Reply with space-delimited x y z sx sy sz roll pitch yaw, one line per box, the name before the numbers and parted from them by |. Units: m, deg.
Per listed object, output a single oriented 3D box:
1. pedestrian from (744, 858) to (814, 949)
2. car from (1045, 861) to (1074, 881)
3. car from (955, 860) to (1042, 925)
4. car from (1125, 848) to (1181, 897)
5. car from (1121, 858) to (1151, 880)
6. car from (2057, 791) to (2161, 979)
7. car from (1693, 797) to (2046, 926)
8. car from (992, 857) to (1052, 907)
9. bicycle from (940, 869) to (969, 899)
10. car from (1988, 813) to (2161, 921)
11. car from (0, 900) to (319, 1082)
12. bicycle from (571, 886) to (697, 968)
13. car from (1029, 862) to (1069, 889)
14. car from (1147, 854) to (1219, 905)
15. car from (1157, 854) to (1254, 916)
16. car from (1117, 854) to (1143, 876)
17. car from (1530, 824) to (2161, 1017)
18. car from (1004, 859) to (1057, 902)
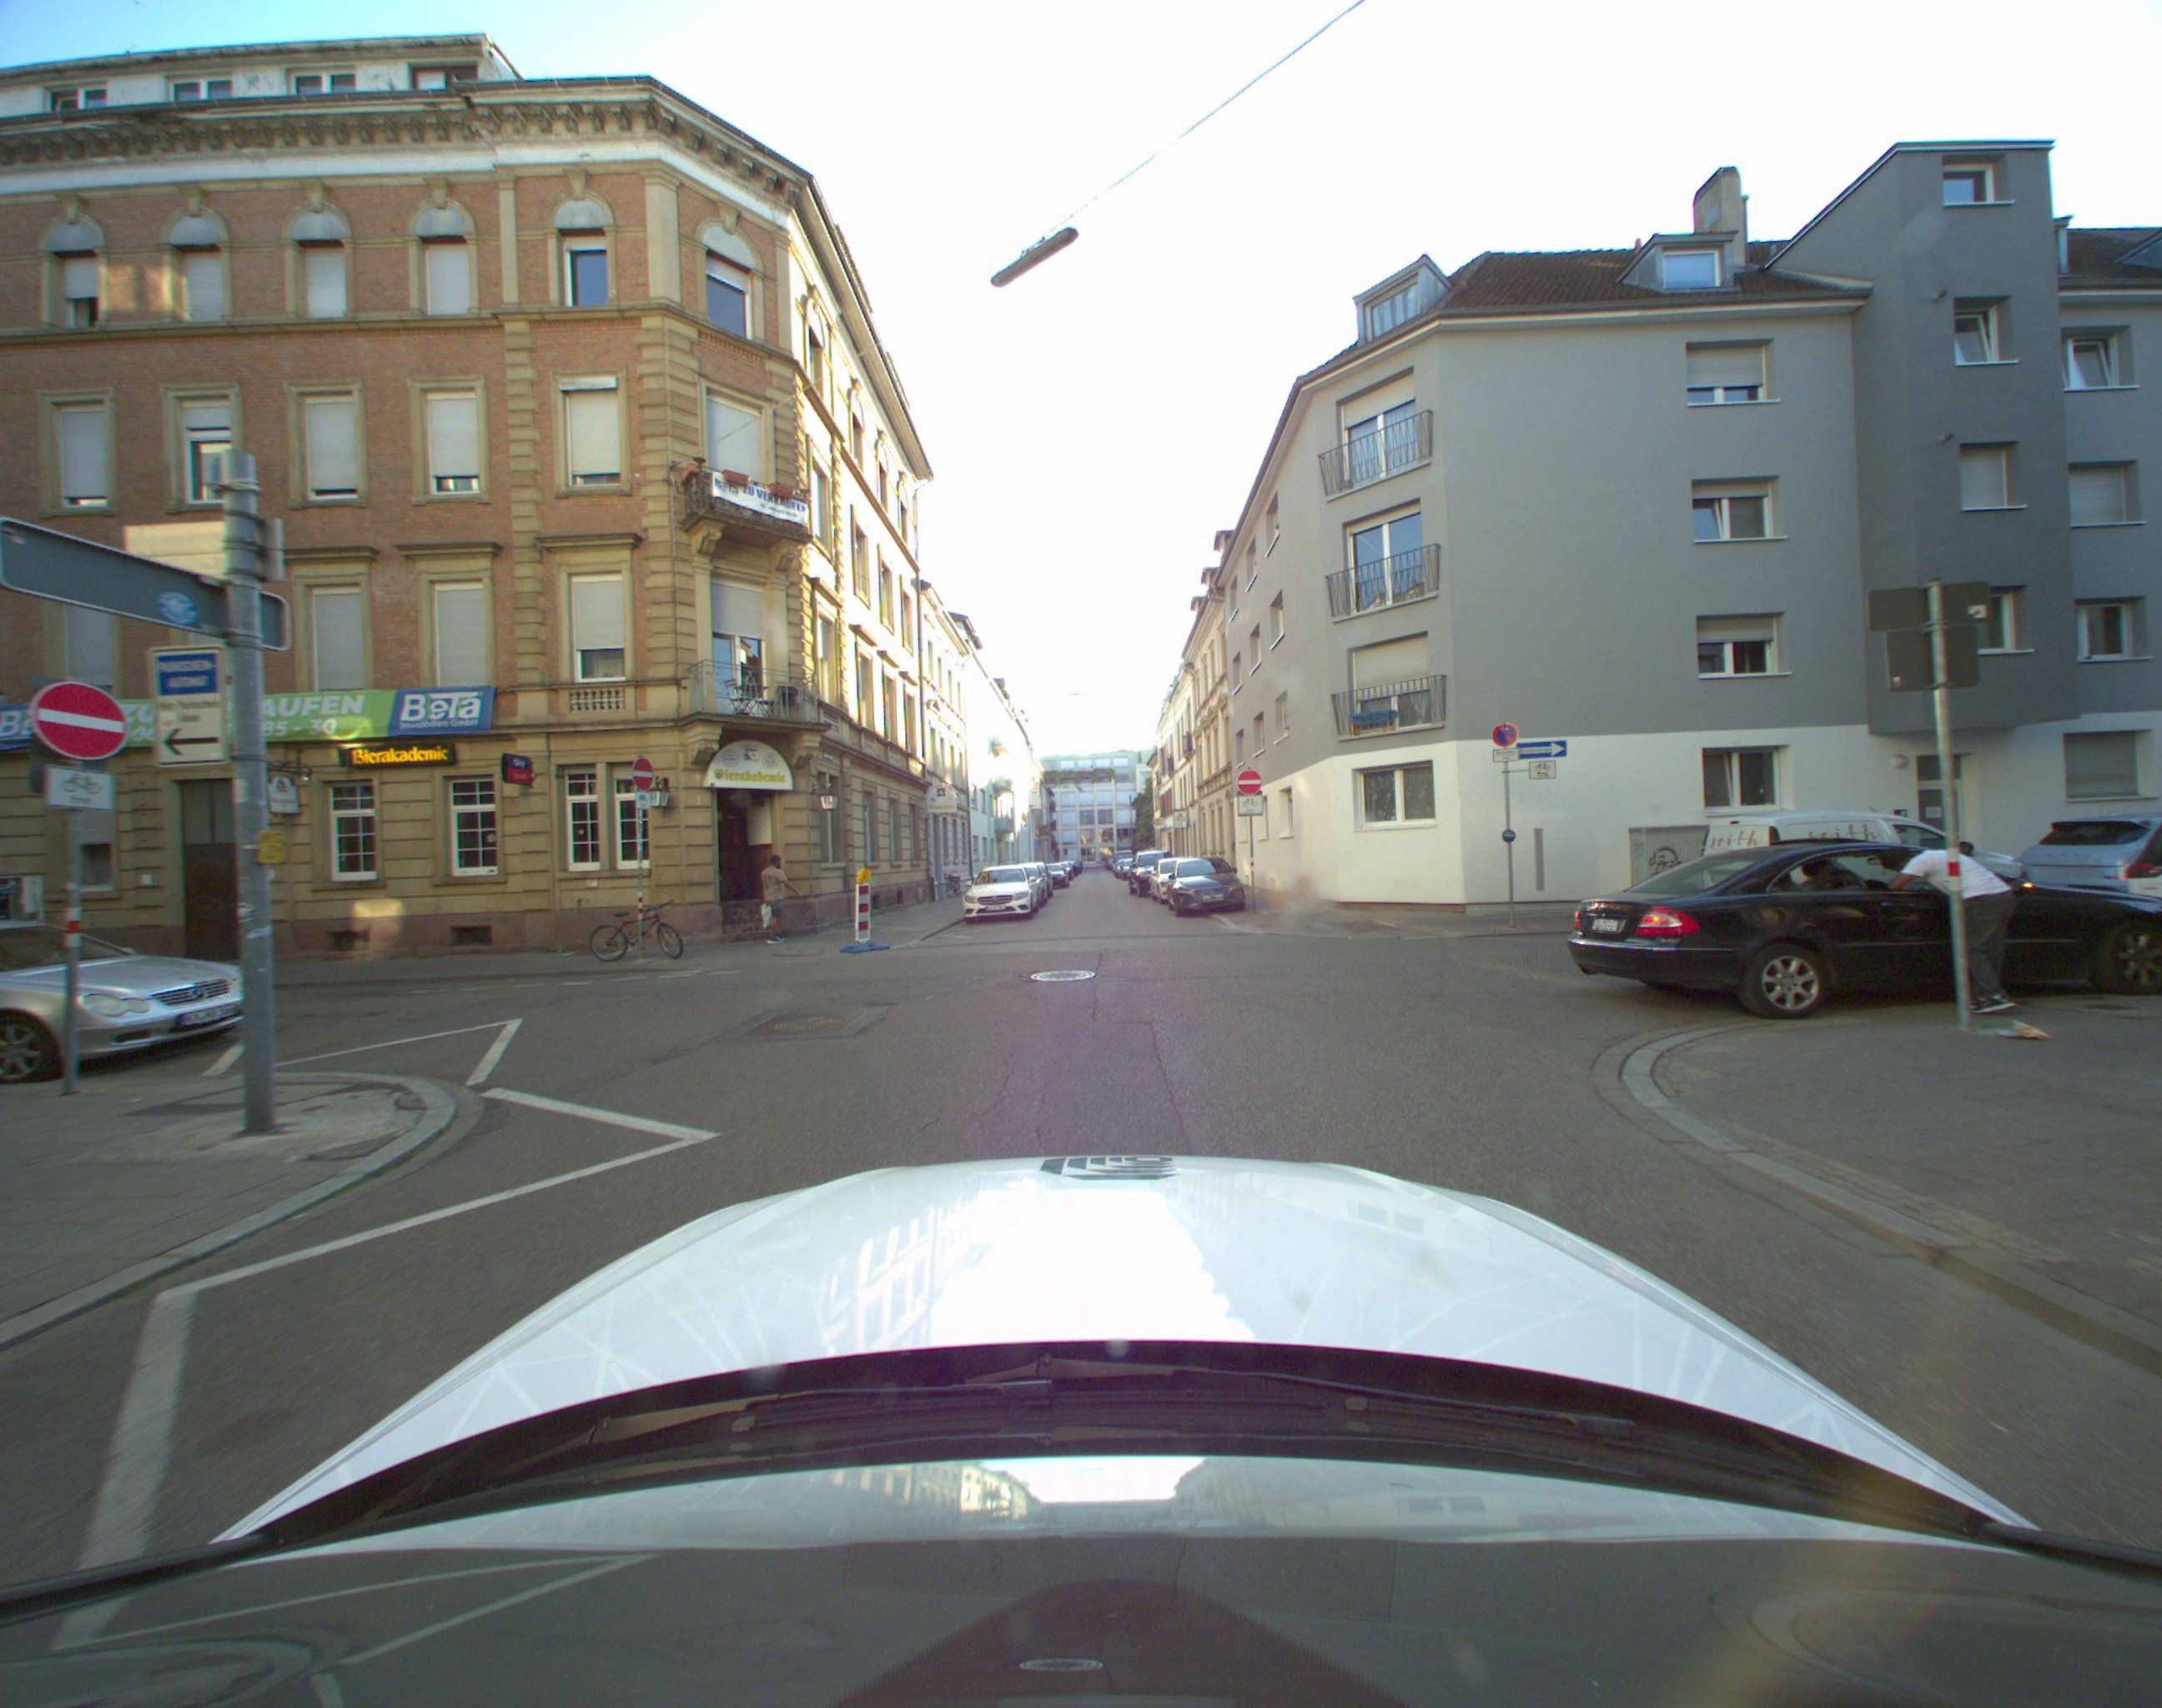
pedestrian | -6.166 0.979 16.602 1.022 1.742 0.973 -1 -1 -41
car | -1.642 1.276 63.538 2.167 1.418 3.998 -2 0 -1
car | -2.218 0.991 23.107 1.988 1.564 4.504 -2 0 -1
car | 2.863 0.712 33.233 1.887 1.784 3.999 -2 0 0
car | 3.914 1.032 58.361 1.986 1.451 4.002 -2 0 2
car | 12.084 0.197 7.286 4.431 1.723 1.823 -2 0 1
car | 12.710 0.115 13.314 4.158 1.813 1.636 -2 0 0
car | -1.999 0.912 28.509 1.618 1.577 3.756 -2 0 2
bicycle | -5.301 1.238 34.261 0.735 1.160 2.461 -2 0 1
car | 17.787 0.123 13.207 4.343 1.564 1.767 -3 0 -4
car | -10.528 1.305 7.903 4.461 1.401 1.756 -2 1 -1
bicycle | -7.848 1.270 14.344 1.753 1.275 0.660 -2 3 -3
car | -1.747 1.155 45.825 1.987 1.355 4.429 -2 0 0
car | 3.409 0.820 27.811 1.957 1.557 3.889 -2 0 0
car | 3.208 0.761 21.740 1.932 1.372 3.788 -4 0 0
car | 4.130 0.919 69.049 1.987 1.700 4.000 -2 0 0
car | 7.030 0.541 7.502 4.693 1.408 1.892 -2 0 3
car | -2.069 1.063 34.248 1.778 1.658 3.818 -2 0 2
